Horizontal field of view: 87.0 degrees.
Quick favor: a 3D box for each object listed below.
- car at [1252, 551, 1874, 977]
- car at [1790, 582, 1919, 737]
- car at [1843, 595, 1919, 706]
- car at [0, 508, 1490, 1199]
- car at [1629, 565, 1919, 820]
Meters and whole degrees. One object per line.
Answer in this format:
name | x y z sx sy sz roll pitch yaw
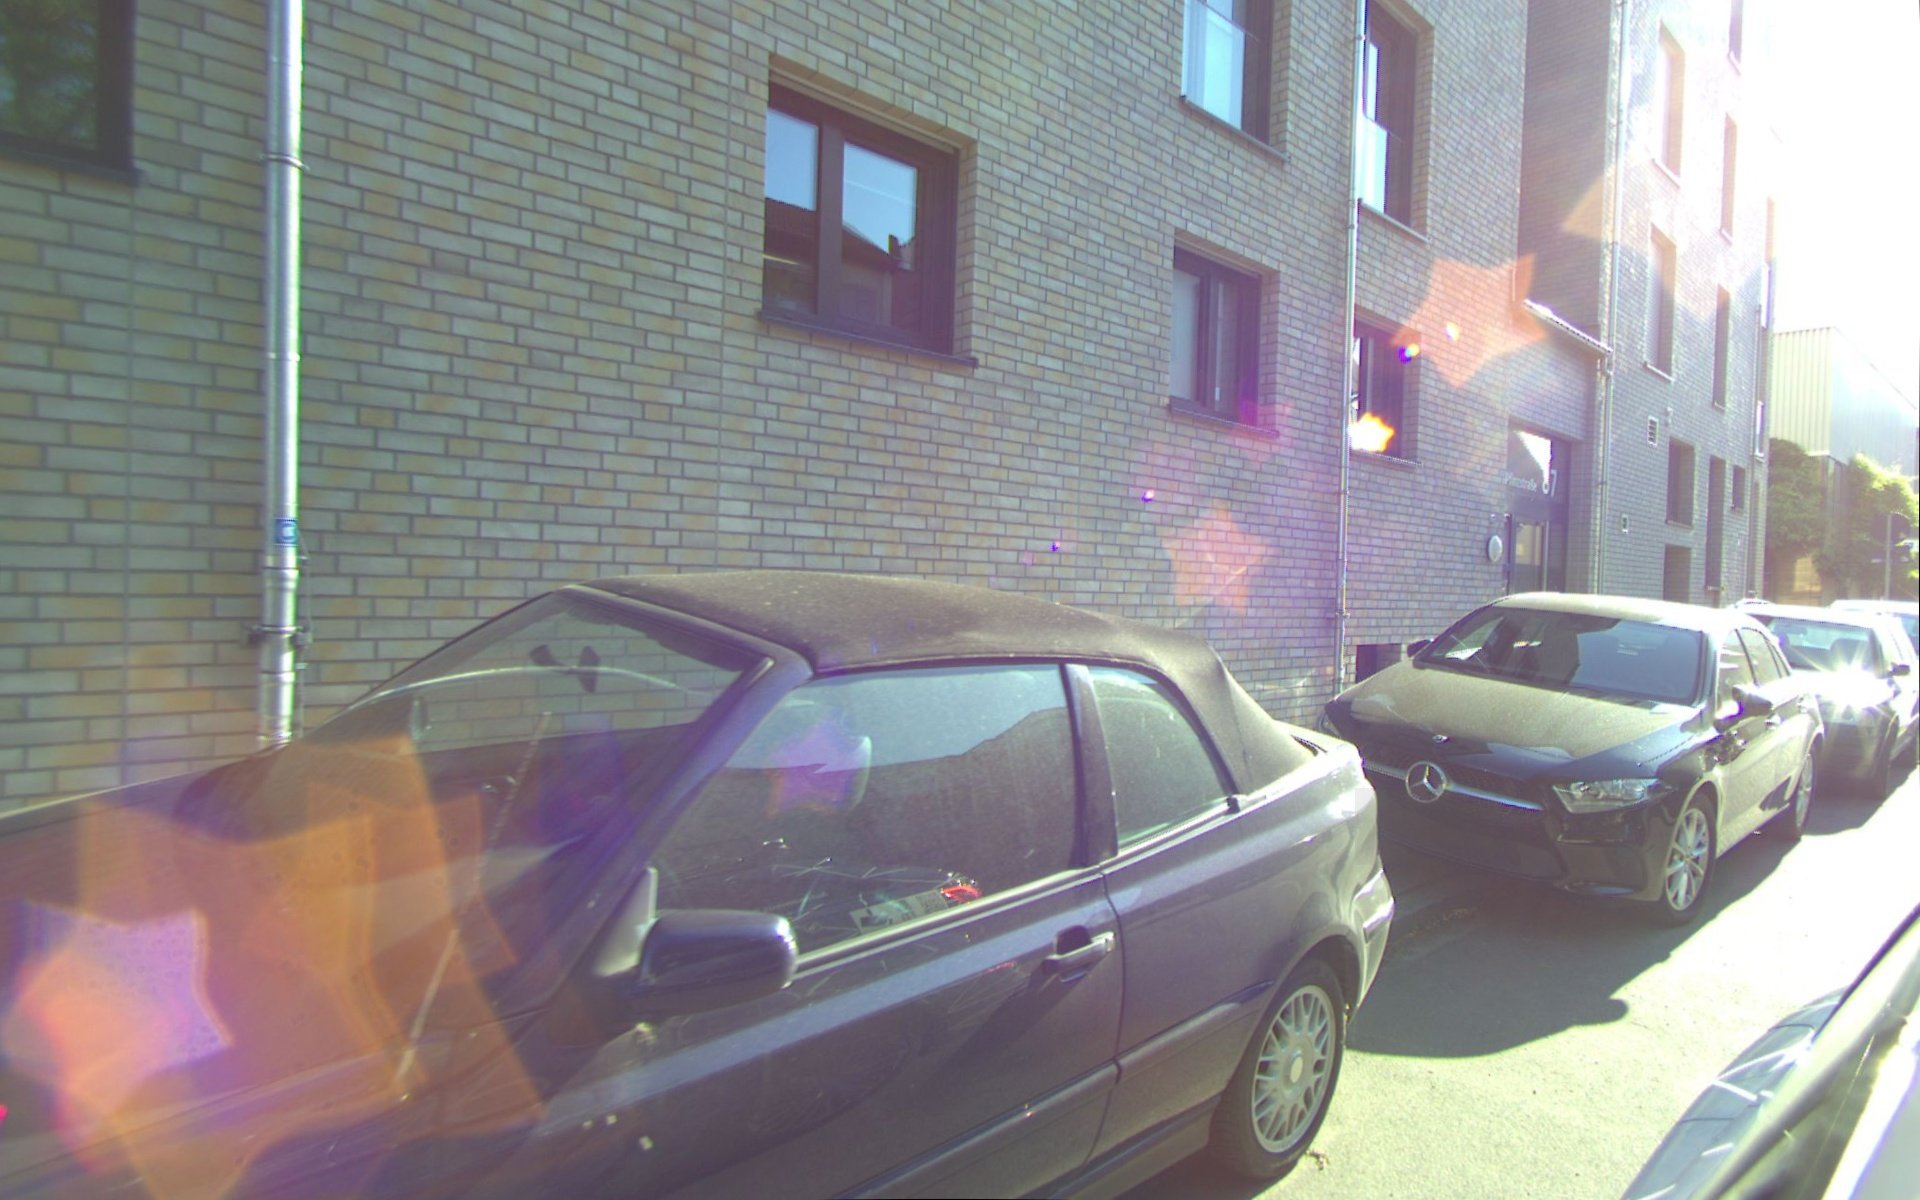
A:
car | 3.848 0.631 6.058 4.544 1.547 1.730 1 5 -41
car | 11.845 0.691 12.666 4.270 1.611 1.653 1 4 -44
car | 15.037 0.750 15.687 3.594 1.542 1.729 0 3 -45
car | -0.517 0.653 2.303 4.147 1.534 1.667 1 4 -43
car | 7.896 0.647 9.351 4.756 1.755 1.670 1 2 -42
